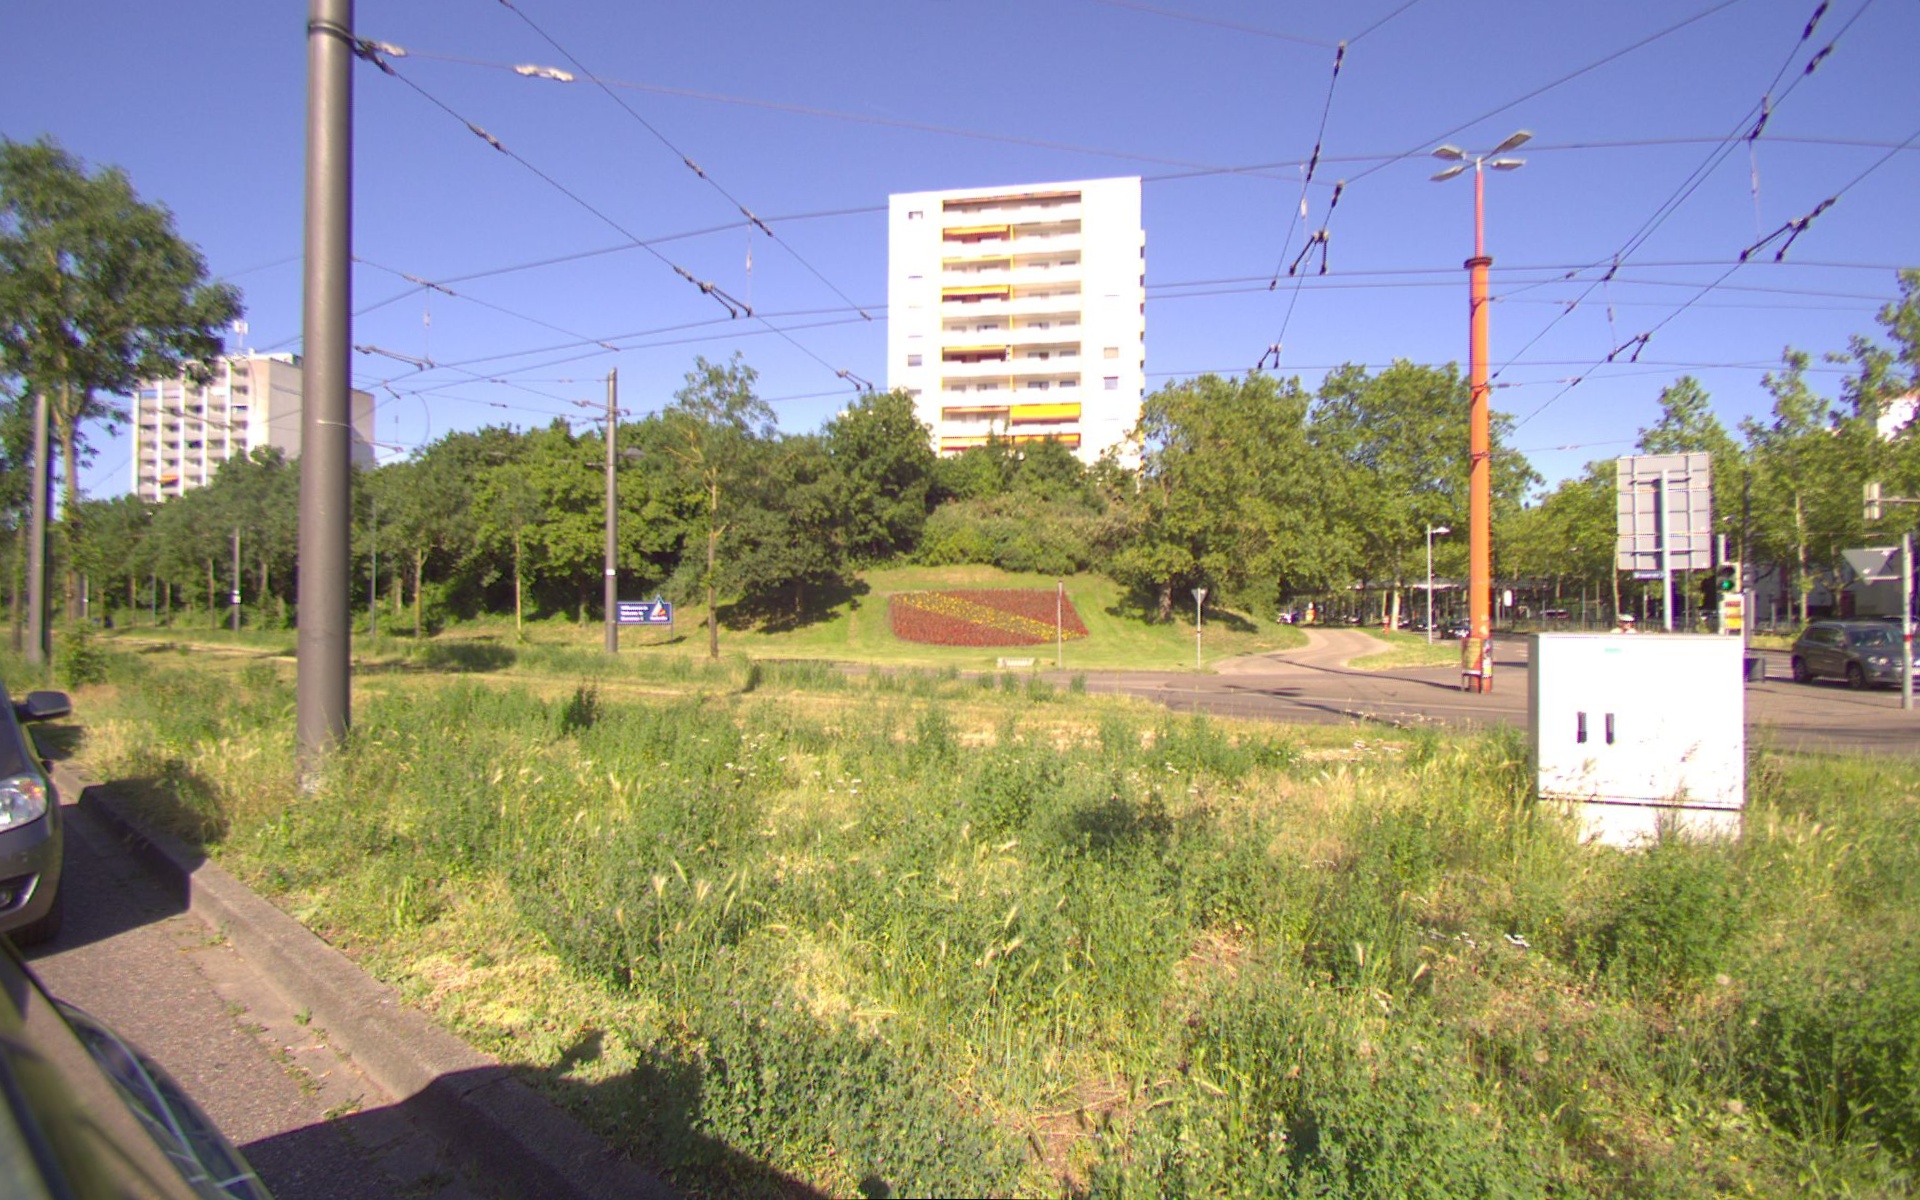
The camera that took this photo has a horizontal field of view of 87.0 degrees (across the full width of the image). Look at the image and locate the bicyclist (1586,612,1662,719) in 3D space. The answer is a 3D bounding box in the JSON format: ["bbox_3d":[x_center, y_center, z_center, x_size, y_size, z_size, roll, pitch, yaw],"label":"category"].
[{"bbox_3d":[12.082,1.162,18.444,0.885,1.881,0.919,-1,0,16],"label":"bicyclist"}]

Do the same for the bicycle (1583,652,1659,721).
[{"bbox_3d":[12.024,1.549,18.459,0.574,1.079,1.906,-1,0,15],"label":"bicycle"}]

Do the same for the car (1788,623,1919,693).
[{"bbox_3d":[23.014,1.393,25.411,1.900,1.507,4.026,-1,0,15],"label":"car"}]

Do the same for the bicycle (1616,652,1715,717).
[{"bbox_3d":[13.365,1.576,19.239,0.572,1.079,1.914,-1,0,2],"label":"bicycle"}]

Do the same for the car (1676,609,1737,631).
[{"bbox_3d":[72.140,1.940,97.866,1.909,1.999,4.350,1,-2,-38],"label":"car"}]

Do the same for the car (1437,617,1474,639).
[{"bbox_3d":[34.677,1.958,70.935,1.904,1.507,3.972,-1,-1,21],"label":"car"}]

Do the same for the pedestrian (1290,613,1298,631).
[{"bbox_3d":[28.912,1.921,87.596,0.682,1.568,0.984,-1,-2,20],"label":"pedestrian"}]

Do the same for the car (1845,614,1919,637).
[{"bbox_3d":[63.799,1.744,69.989,1.589,1.471,3.656,-1,0,-38],"label":"car"}]

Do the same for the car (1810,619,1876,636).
[{"bbox_3d":[64.403,1.990,73.840,1.425,1.197,3.423,-1,0,-41],"label":"car"}]

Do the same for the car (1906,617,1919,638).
[{"bbox_3d":[63.684,1.778,65.156,1.472,1.341,3.746,-1,0,-27],"label":"car"}]

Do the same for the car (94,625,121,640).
[{"bbox_3d":[-84.896,3.203,100.741,3.908,1.431,1.557,-2,-1,42],"label":"car"}]

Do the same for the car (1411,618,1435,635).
[{"bbox_3d":[44.900,2.564,98.126,1.905,1.507,3.971,-1,0,22],"label":"car"}]

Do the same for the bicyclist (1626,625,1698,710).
[{"bbox_3d":[13.316,1.268,19.219,0.710,1.536,0.924,-1,0,0],"label":"bicyclist"}]

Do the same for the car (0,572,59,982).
[{"bbox_3d":[-5.826,0.752,4.883,3.998,1.652,1.726,-1,0,41],"label":"car"}]
